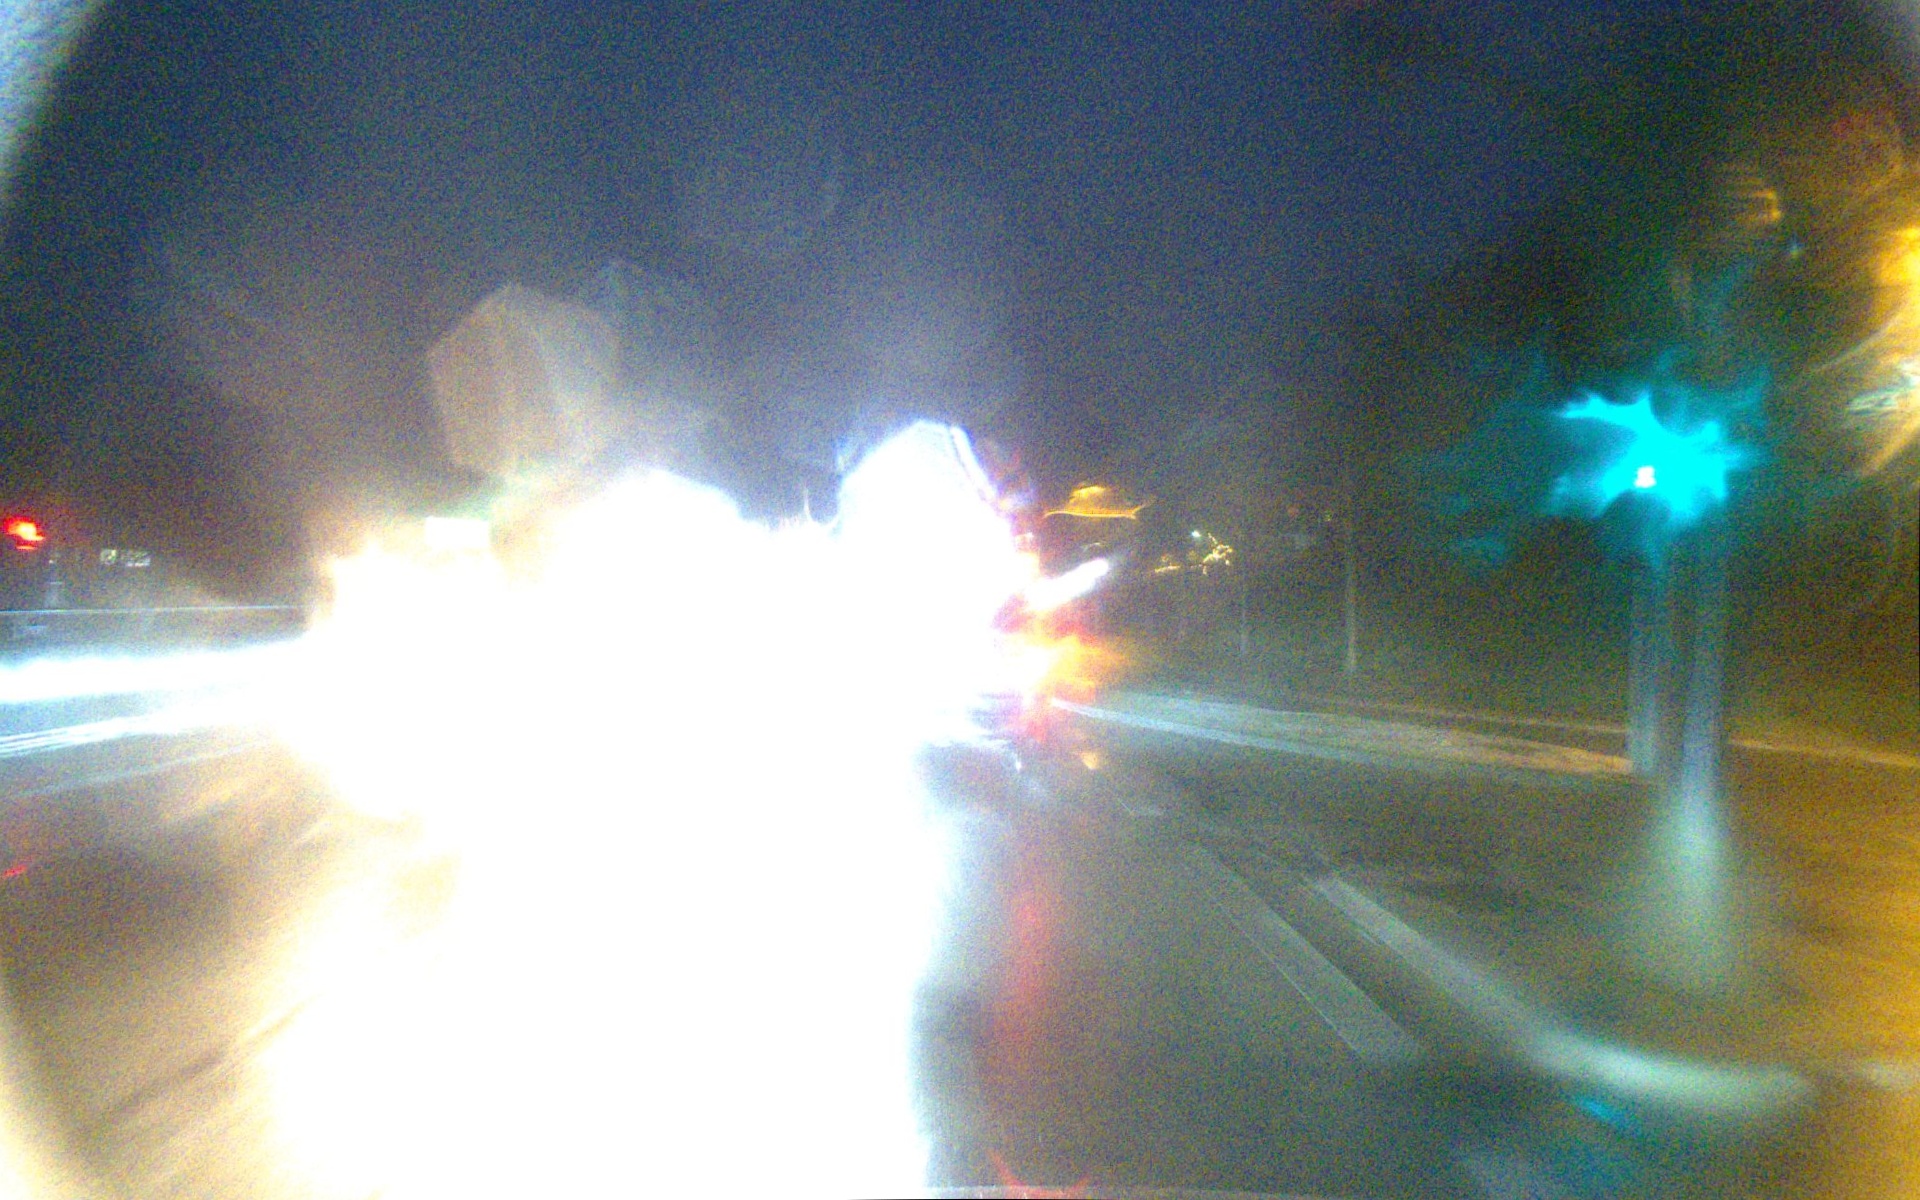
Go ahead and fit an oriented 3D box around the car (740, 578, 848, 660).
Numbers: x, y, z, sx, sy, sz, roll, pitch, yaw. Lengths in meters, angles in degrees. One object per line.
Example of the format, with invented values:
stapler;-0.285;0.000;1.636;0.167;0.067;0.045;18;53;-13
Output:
car;-3.476;0.361;35.361;1.806;1.602;4.596;1;0;0

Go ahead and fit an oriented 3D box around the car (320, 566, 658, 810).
car;-3.253;0.541;12.095;1.636;1.498;3.630;1;0;-4

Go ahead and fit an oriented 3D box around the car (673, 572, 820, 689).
car;-3.352;0.435;26.706;1.806;1.698;4.445;1;0;-1

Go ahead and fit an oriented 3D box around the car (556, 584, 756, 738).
car;-3.242;0.594;18.277;1.589;1.498;3.883;1;0;-2

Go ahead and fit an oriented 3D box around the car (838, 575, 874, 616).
car;-7.231;-0.335;115.521;2.079;2.755;6.240;1;0;0

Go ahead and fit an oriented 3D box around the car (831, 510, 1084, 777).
car;-0.067;0.324;14.806;1.903;2.006;4.217;1;0;-2
